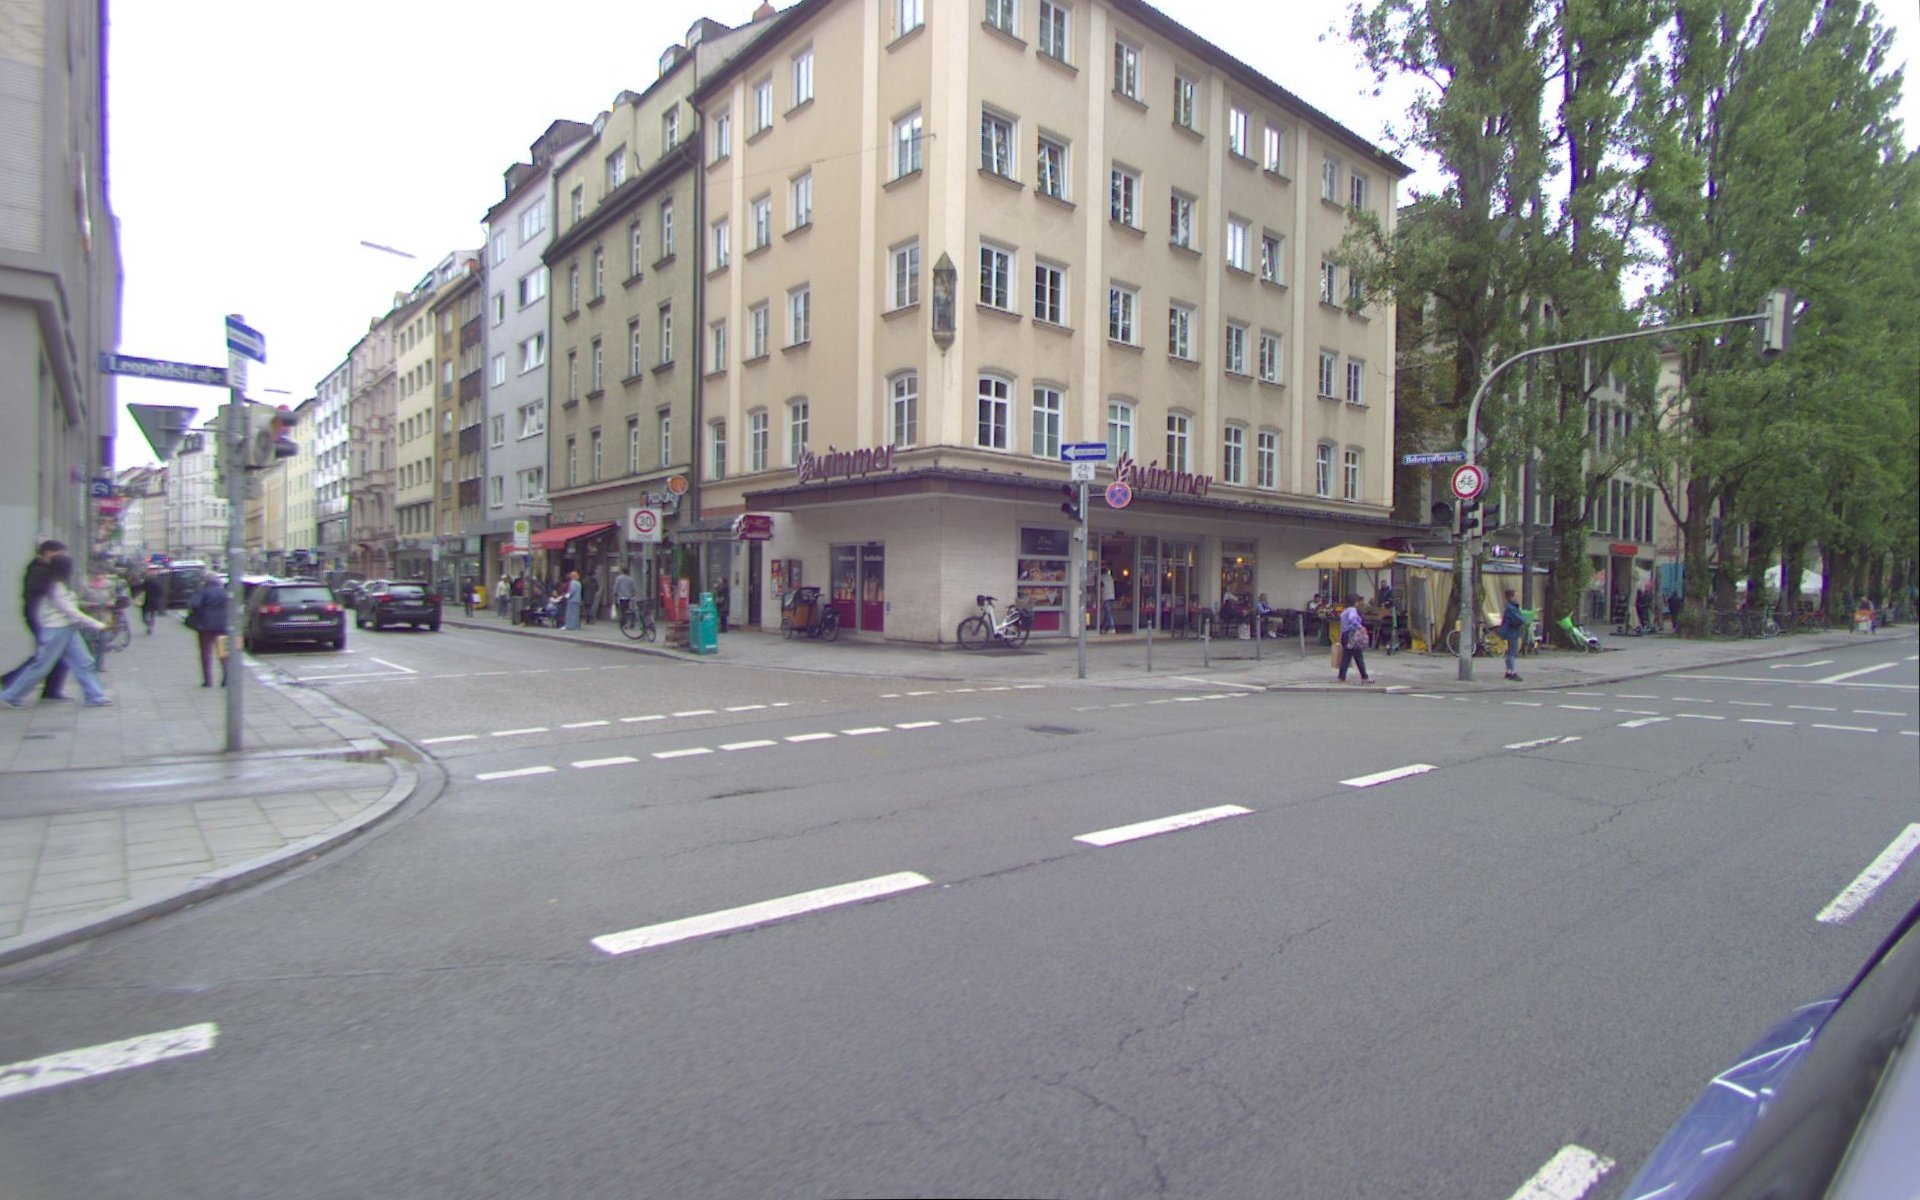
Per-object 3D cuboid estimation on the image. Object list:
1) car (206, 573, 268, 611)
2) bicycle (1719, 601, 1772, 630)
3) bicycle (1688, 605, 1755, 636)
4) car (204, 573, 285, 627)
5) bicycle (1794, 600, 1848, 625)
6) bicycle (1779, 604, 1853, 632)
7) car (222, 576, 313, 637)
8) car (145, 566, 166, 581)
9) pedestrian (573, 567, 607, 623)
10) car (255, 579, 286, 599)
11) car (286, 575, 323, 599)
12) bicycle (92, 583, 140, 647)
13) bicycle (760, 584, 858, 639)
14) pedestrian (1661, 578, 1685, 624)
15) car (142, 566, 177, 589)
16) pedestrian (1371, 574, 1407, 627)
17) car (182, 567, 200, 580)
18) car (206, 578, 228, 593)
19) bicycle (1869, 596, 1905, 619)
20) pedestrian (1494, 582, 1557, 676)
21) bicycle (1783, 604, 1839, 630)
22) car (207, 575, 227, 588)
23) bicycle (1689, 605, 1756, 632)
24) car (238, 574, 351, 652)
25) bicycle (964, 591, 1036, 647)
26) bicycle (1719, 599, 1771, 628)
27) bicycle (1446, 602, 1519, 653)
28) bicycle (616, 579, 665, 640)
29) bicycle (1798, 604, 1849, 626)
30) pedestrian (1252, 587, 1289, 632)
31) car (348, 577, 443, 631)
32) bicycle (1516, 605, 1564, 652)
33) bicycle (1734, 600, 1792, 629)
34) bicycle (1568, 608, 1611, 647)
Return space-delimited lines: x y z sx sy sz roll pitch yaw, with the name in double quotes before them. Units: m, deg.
"car" -29.324 -0.345 41.009 1.728 1.479 3.995 0 1 -40
"bicycle" 31.832 0.616 41.035 1.669 1.131 0.282 2 1 38
"bicycle" 28.655 0.761 38.106 1.996 1.096 0.282 2 1 41
"car" -21.234 -0.045 29.965 1.728 1.479 3.696 0 1 -39
"bicycle" 42.054 0.586 49.444 0.674 1.141 1.901 1 1 -40
"bicycle" 41.107 0.850 48.614 0.948 1.230 2.576 0 1 -40
"car" -18.578 0.128 27.080 1.728 1.479 3.696 0 1 -39
"car" -82.356 -2.682 103.569 1.556 1.530 3.200 0 1 -41
"pedestrian" -12.044 -0.162 32.947 0.804 1.790 0.867 0 0 -39
"car" -52.246 -0.841 76.667 1.556 1.530 3.199 0 1 -42
"car" -42.991 -0.870 66.345 1.556 1.530 3.199 0 1 -42
"bicycle" -16.876 0.280 20.222 1.736 1.227 0.442 1 1 40
"bicycle" -3.761 0.262 24.976 0.982 1.268 2.975 0 0 -40
"pedestrian" 31.482 0.052 44.700 0.709 1.996 0.658 1 1 -38
"car" -52.752 -1.482 66.676 1.728 1.479 3.696 0 1 -39
"pedestrian" 13.273 0.011 31.323 0.687 1.609 0.777 0 0 -40
"car" -94.139 -3.281 123.929 1.556 1.530 3.200 0 1 -41
"car" -77.066 -1.503 104.961 1.556 1.530 3.200 0 1 -41
"bicycle" 57.823 0.460 63.128 0.819 1.429 2.579 0 0 23
"pedestrian" 10.181 0.500 18.227 0.850 1.630 0.766 0 1 -45
"bicycle" 37.198 0.722 44.262 0.385 1.022 1.847 1 2 -31
"car" -85.332 -2.132 116.184 1.556 1.530 3.200 0 1 -41
"bicycle" 28.893 0.706 38.359 1.997 0.957 0.282 1 1 42
"car" -15.000 0.227 22.729 1.728 1.568 3.996 0 1 -39
"bicycle" 0.885 0.393 22.182 1.780 1.185 0.435 -1 0 -42
"bicycle" 32.066 0.560 41.347 1.657 1.121 0.391 2 1 39
"bicycle" 11.842 0.613 22.914 1.774 1.084 0.406 -1 -4 -25
"bicycle" -7.683 0.202 24.277 0.472 1.404 1.832 0 1 -39
"bicycle" 42.680 0.735 50.047 0.494 1.022 1.843 0 1 -40
"pedestrian" 8.978 0.257 29.296 0.687 1.280 0.777 0 1 -40
"car" -17.145 0.082 30.653 1.728 1.479 3.994 0 1 -41
"bicycle" 13.949 0.664 24.325 1.740 1.061 0.509 0 1 -43
"bicycle" 33.118 0.586 41.758 1.864 1.149 0.335 2 1 42
"bicycle" 16.702 0.714 26.833 1.740 0.988 0.509 0 1 -43
